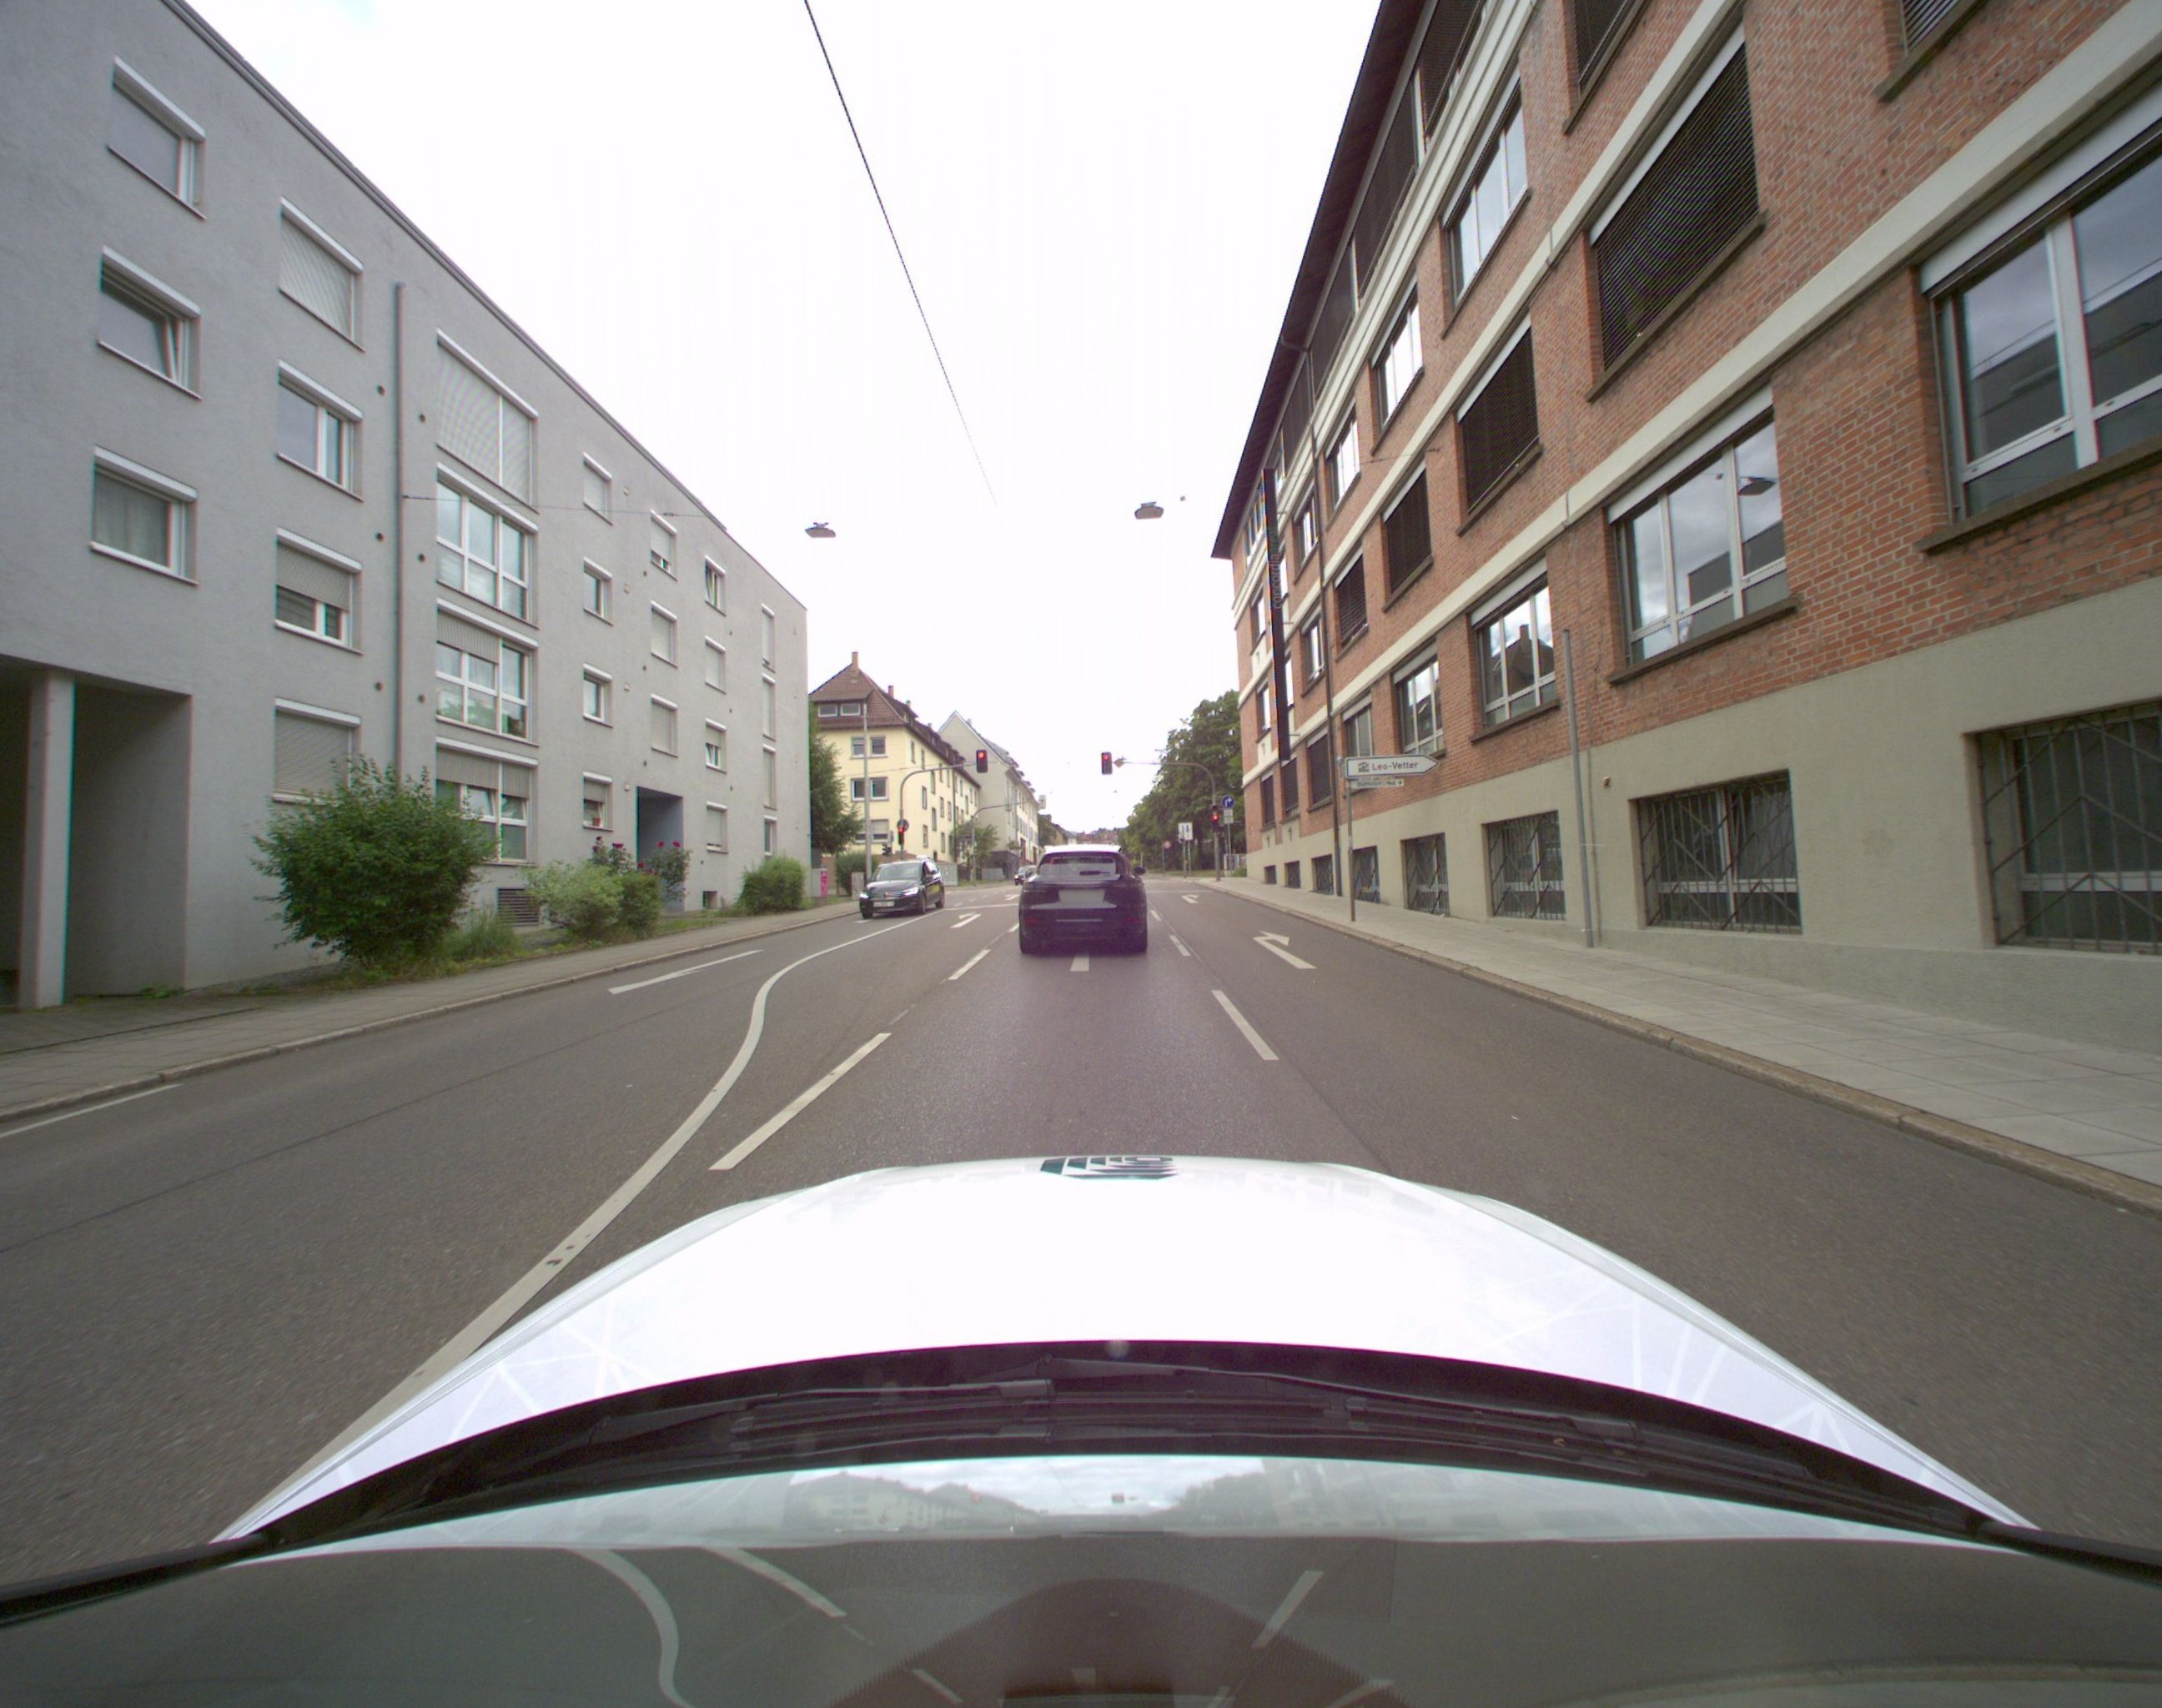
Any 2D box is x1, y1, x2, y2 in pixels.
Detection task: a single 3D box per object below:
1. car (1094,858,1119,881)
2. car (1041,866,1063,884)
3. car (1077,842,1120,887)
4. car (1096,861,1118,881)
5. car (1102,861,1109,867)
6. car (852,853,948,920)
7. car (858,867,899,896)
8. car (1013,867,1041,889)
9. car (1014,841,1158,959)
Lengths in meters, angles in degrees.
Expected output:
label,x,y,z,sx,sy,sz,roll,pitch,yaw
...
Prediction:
label,x,y,z,sx,sy,sz,roll,pitch,yaw
car,1.965,1.148,61.518,1.820,1.605,4.137,-1,0,2
car,-2.819,2.041,79.674,1.697,1.587,3.938,-5,0,2
car,0.912,0.479,39.583,1.957,2.042,4.137,-1,0,2
car,2.299,1.448,70.389,1.820,1.605,3.861,-1,0,2
car,6.898,2.673,228.121,1.820,1.605,4.137,-1,0,2
car,-5.361,0.909,24.694,1.778,1.706,4.307,-5,0,1
car,-12.863,1.714,51.952,1.686,1.555,3.763,-5,0,-2
car,-4.026,1.759,61.219,1.667,1.400,3.796,-5,0,2
car,0.153,0.654,13.784,2.040,1.666,4.269,-1,0,2
